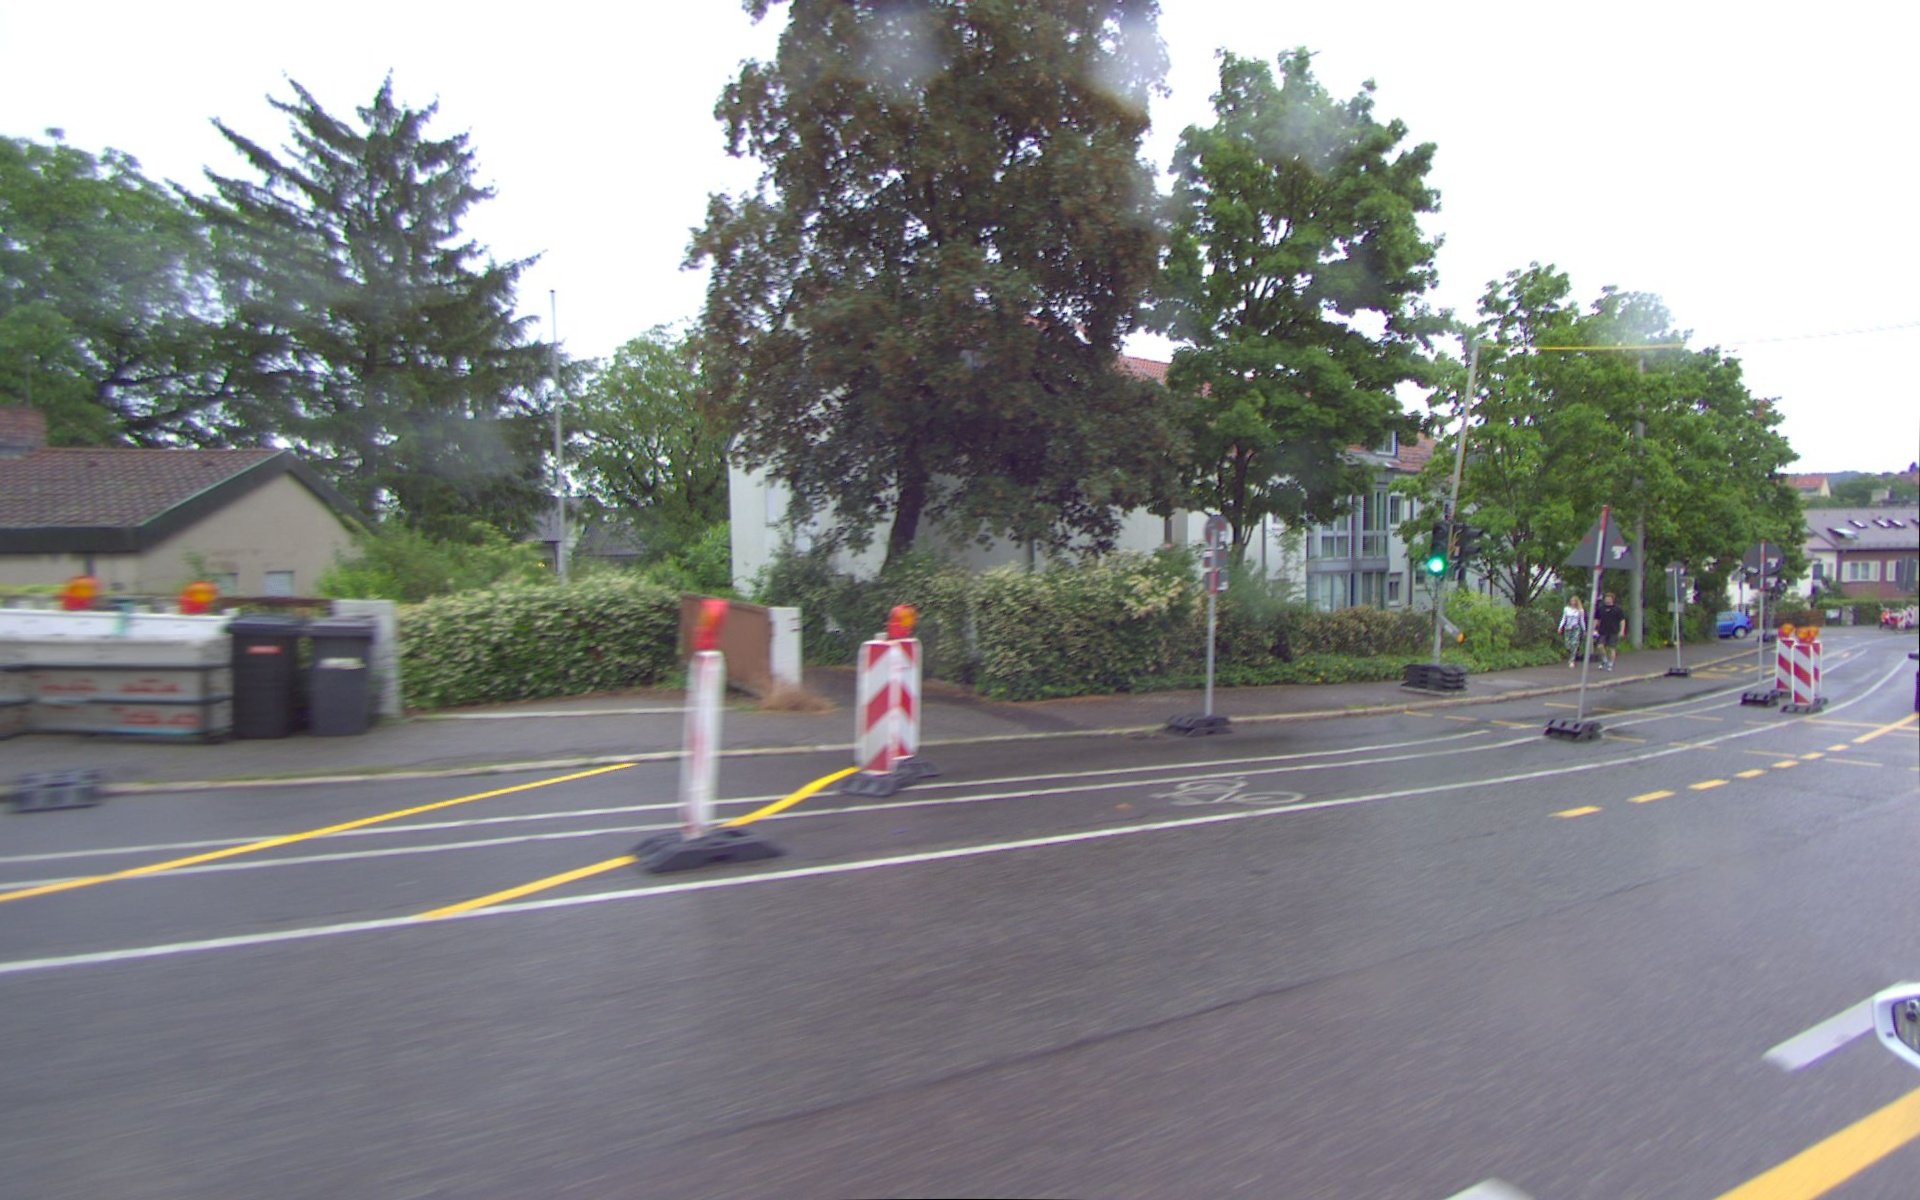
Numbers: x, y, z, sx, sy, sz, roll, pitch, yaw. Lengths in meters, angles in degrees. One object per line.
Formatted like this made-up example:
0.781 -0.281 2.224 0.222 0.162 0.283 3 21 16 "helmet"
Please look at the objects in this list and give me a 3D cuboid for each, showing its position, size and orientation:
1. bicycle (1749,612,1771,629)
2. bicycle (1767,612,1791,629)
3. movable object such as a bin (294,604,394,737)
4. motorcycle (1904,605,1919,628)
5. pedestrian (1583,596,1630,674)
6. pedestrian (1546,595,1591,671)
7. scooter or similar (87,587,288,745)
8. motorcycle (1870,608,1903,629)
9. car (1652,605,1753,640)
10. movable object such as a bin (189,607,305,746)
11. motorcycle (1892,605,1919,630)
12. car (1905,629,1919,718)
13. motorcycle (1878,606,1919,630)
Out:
51.270 1.331 64.380 0.299 1.048 1.328 3 -2 -4 "bicycle"
51.329 1.277 62.969 0.299 1.048 1.303 3 -2 -5 "bicycle"
-5.757 0.639 9.430 0.704 1.155 0.855 2 1 -28 "movable object such as a bin"
58.020 1.014 60.275 1.876 1.289 0.573 5 6 37 "motorcycle"
15.960 0.838 24.787 0.700 1.841 1.140 3 3 45 "pedestrian"
15.363 0.801 25.351 0.673 1.841 1.148 3 3 45 "pedestrian"
-6.594 0.568 8.619 1.296 1.277 0.398 3 3 -16 "scooter or similar"
54.129 1.084 58.658 1.890 1.155 0.509 -1 1 -16 "motorcycle"
39.268 1.168 53.201 3.862 1.688 1.843 2 0 10 "car"
-6.405 0.669 9.069 0.704 1.155 0.855 2 1 -28 "movable object such as a bin"
56.539 1.022 59.686 0.601 1.321 1.807 2 5 6 "motorcycle"
18.420 1.277 18.081 4.648 1.480 1.683 1 0 -42 "car"
55.561 1.069 59.404 0.504 1.297 1.797 -1 4 -22 "motorcycle"
